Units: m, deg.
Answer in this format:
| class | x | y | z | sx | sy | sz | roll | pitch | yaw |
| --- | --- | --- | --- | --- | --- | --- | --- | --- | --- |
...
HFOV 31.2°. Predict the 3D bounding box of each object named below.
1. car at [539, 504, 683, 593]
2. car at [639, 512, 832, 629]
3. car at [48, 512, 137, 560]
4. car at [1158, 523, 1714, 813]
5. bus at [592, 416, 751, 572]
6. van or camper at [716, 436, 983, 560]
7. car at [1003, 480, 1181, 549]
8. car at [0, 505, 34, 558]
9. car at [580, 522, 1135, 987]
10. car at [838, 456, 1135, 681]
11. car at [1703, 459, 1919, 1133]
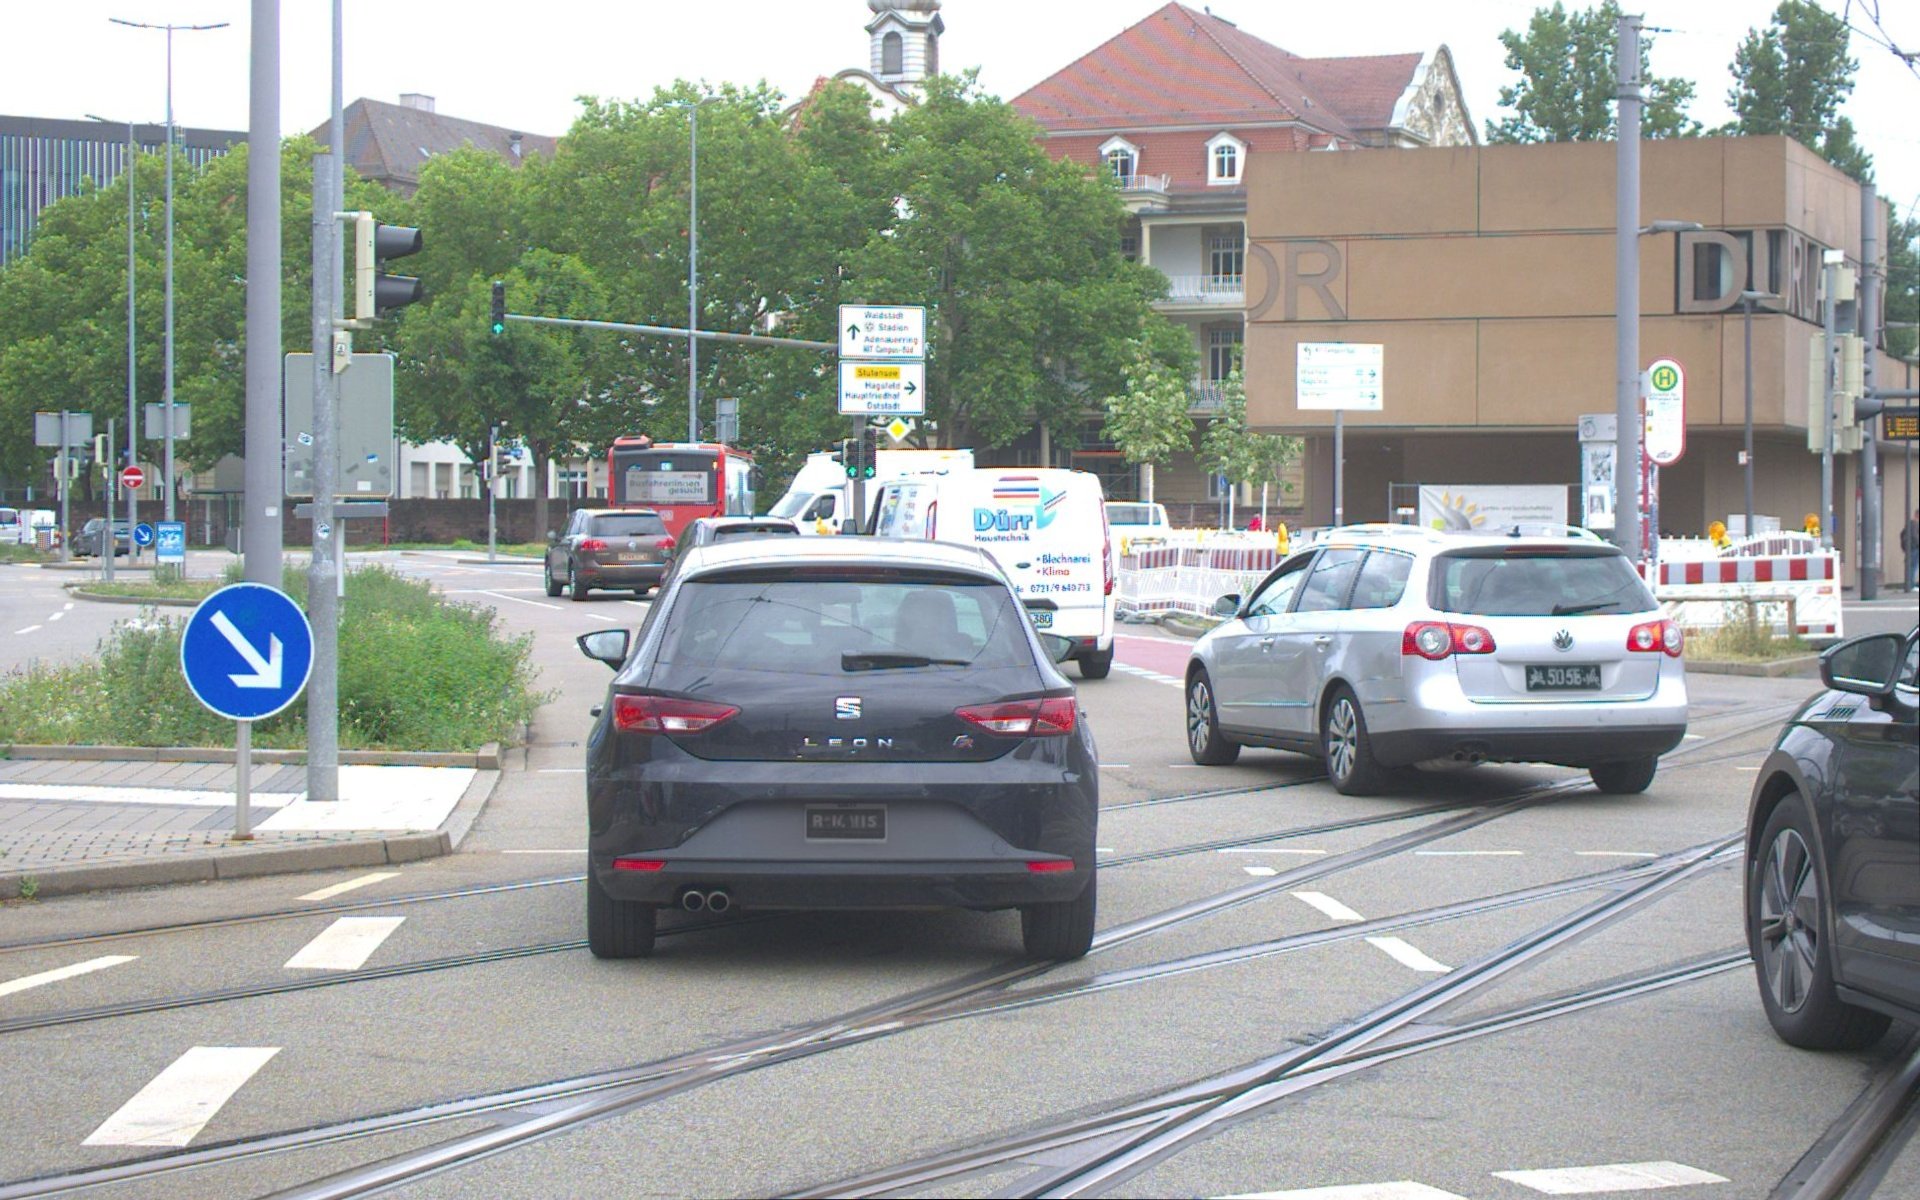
| class | x | y | z | sx | sy | sz | roll | pitch | yaw |
| --- | --- | --- | --- | --- | --- | --- | --- | --- | --- |
| car | -6.459 | -0.963 | 63.299 | 1.993 | 1.560 | 4.206 | 1 | 1 | -15 |
| car | -3.297 | -0.459 | 49.718 | 1.857 | 1.595 | 4.206 | 1 | 1 | -17 |
| car | -30.785 | -2.276 | 121.929 | 1.917 | 1.678 | 4.000 | -1 | 1 | -33 |
| car | 2.611 | 0.293 | 20.087 | 1.720 | 1.477 | 4.630 | 0 | 1 | -12 |
| bus | -6.564 | -2.371 | 79.948 | 3.058 | 3.286 | 12.381 | 1 | 1 | -2 |
| van or camper | -3.112 | -2.850 | 97.741 | 7.129 | 3.321 | 2.876 | 0 | 0 | -33 |
| car | 3.934 | -2.513 | 102.089 | 4.988 | 1.858 | 2.000 | 0 | -2 | -32 |
| car | -36.963 | -2.636 | 131.281 | 1.993 | 2.007 | 4.000 | -1 | 1 | -33 |
| car | -0.524 | 0.451 | 12.911 | 1.745 | 1.459 | 4.001 | 1 | 1 | -6 |
| car | 0.159 | -0.337 | 33.599 | 1.993 | 2.012 | 5.033 | 1 | 1 | -10 |
| car | 3.329 | 0.501 | 8.186 | 1.903 | 1.652 | 4.515 | 1 | 1 | -3 |
